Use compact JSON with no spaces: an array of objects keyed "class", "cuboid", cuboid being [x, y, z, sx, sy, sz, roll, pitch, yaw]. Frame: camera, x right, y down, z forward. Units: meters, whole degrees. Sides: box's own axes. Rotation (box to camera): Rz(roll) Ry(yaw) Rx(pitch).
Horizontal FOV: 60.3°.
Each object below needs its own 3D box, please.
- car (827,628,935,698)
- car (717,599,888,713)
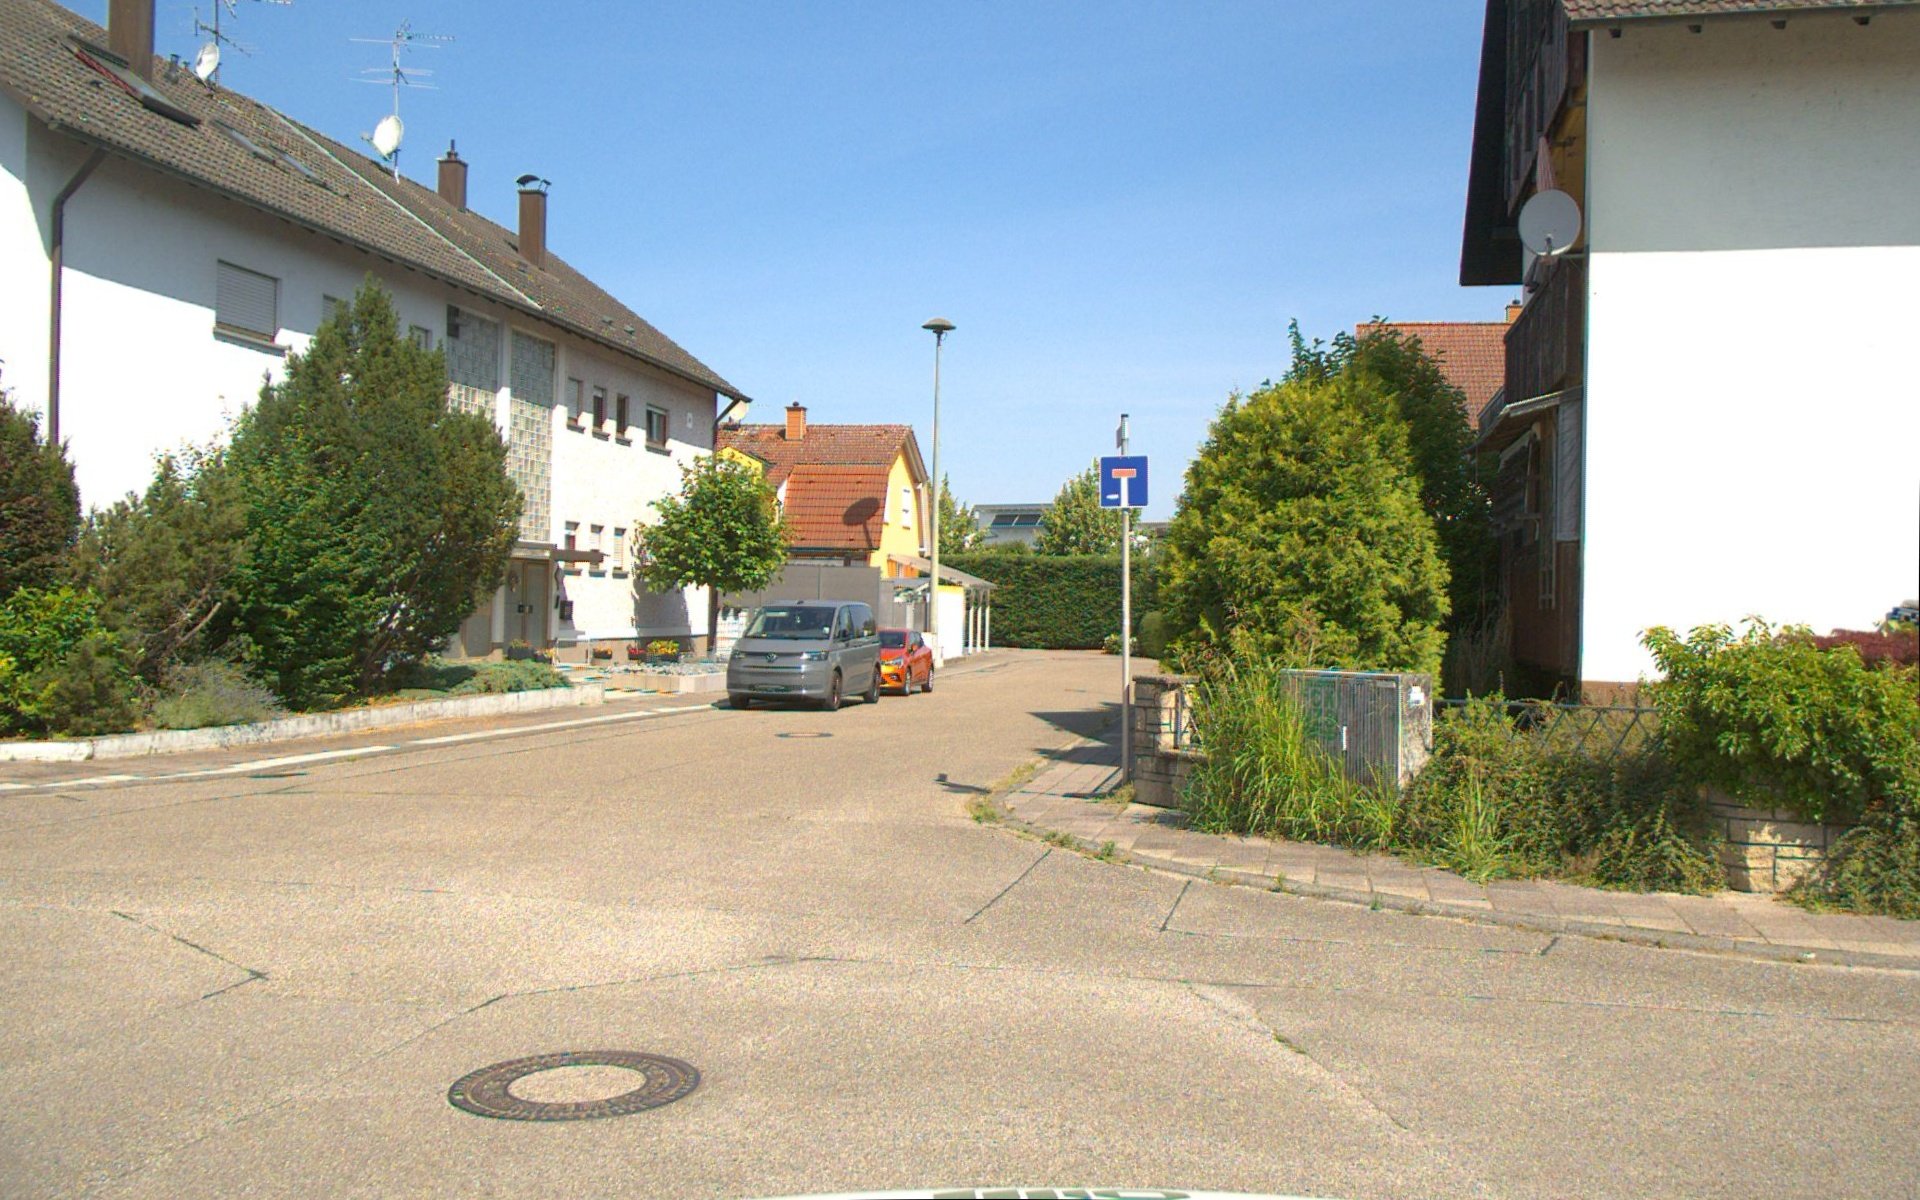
[{"class":"car","cuboid":[-1.687,1.339,36.402,1.616,1.389,3.782,1,0,9]},{"class":"car","cuboid":[-2.757,0.946,29.997,1.860,1.902,4.375,0,0,12]}]
